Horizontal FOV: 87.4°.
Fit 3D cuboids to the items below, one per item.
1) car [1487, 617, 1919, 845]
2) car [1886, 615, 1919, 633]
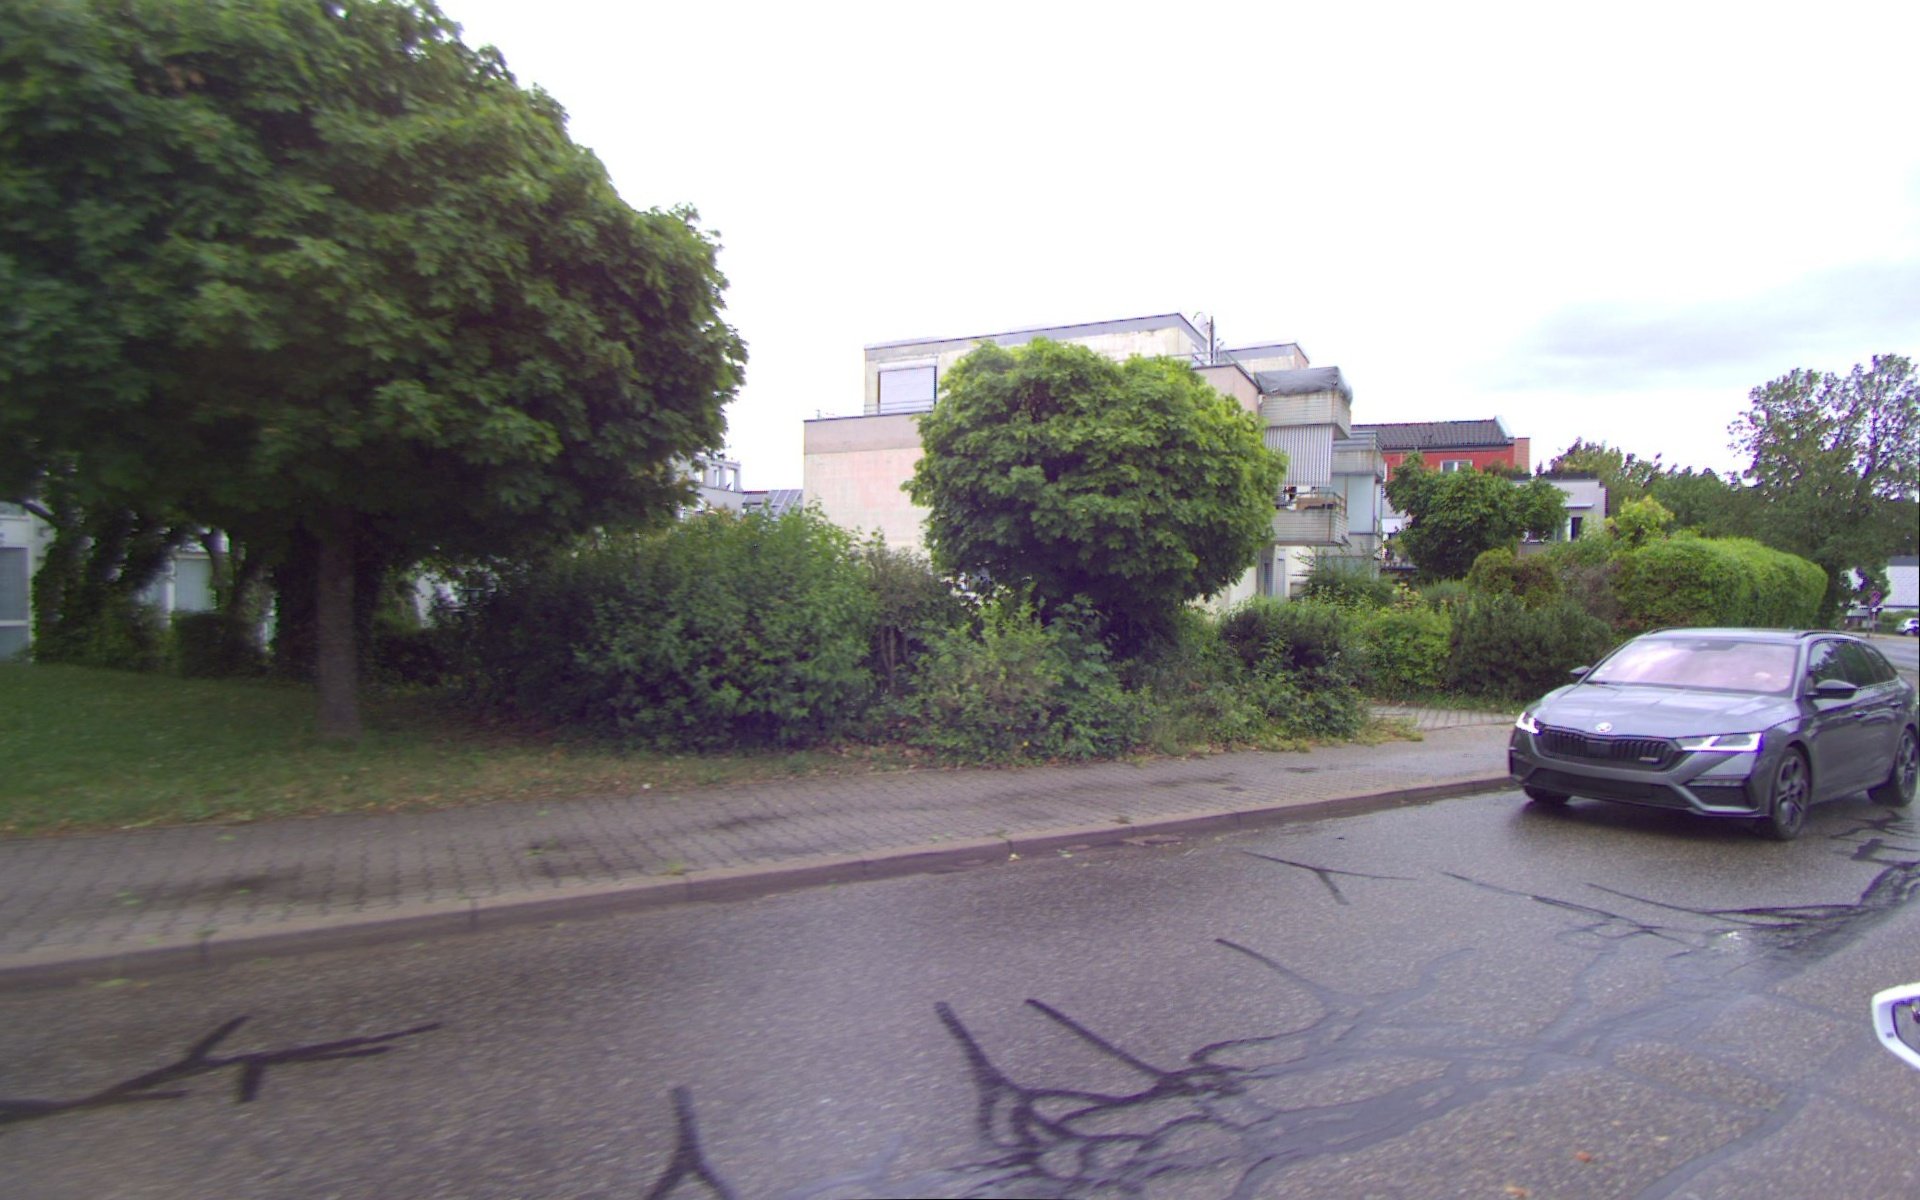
[{"bbox_3d":[6.368,0.892,8.372,4.098,1.433,1.730,1,0,-34],"label":"car"},{"bbox_3d":[78.879,1.974,82.327,3.925,1.461,1.845,1,0,26],"label":"car"}]
